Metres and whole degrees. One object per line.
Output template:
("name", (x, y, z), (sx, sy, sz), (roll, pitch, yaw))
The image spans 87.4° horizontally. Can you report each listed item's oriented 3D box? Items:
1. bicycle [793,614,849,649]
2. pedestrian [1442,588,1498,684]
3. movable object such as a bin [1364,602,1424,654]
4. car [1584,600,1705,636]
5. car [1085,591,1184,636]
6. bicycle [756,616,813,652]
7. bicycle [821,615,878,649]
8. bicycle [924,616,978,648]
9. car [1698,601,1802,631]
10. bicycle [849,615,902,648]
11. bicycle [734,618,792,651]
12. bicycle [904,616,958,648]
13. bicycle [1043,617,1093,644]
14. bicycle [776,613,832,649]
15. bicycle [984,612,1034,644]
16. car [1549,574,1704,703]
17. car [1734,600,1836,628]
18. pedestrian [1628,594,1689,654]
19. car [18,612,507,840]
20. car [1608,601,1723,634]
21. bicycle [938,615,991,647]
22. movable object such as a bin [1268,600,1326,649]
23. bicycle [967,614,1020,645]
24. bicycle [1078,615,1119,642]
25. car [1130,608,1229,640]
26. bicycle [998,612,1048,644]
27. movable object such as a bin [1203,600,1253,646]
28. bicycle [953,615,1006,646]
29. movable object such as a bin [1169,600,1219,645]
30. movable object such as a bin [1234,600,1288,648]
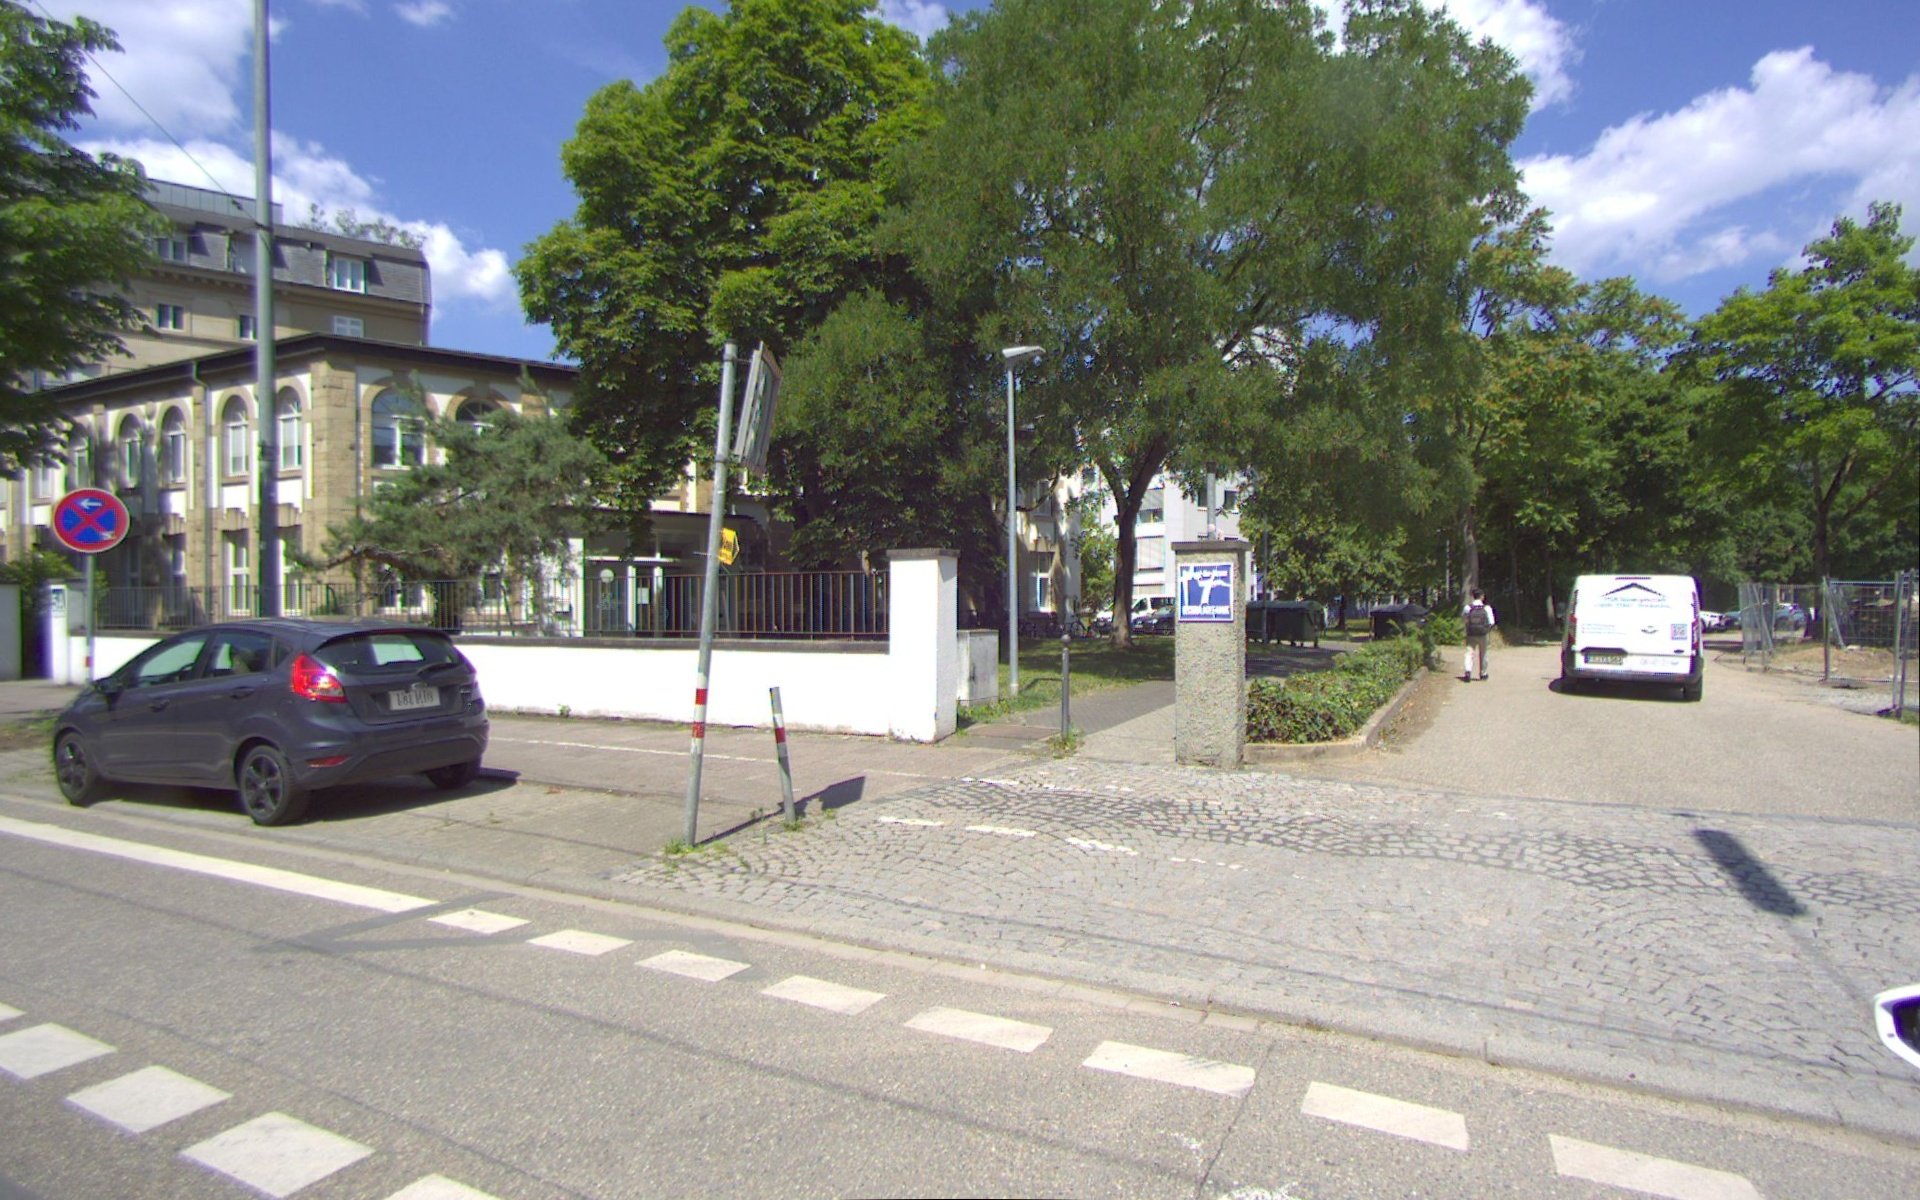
("bicycle", (-4.370, 0.968, 31.517), (0.603, 1.025, 2.231), (0, 0, -42))
("pedestrian", (9.687, 0.658, 19.056), (0.861, 1.752, 1.077), (0, 1, 32))
("movable object such as a bin", (12.291, 0.775, 28.450), (1.096, 1.413, 1.158), (0, 0, -12))
("car", (33.364, 0.850, 49.087), (1.980, 1.630, 4.477), (3, -2, -34))
("car", (8.428, 0.653, 48.413), (4.727, 2.040, 1.980), (0, -1, -36))
("bicycle", (-5.372, 1.023, 30.662), (0.628, 1.025, 2.231), (0, 0, -43))
("bicycle", (-3.529, 1.003, 31.980), (0.603, 1.025, 2.231), (0, 0, -42))
("bicycle", (-0.316, 1.070, 34.257), (0.602, 1.025, 2.235), (0, 0, -38))
("car", (45.480, 0.885, 57.907), (1.708, 1.619, 4.475), (-1, 0, -35))
("bicycle", (-2.754, 1.011, 32.622), (0.602, 1.025, 2.235), (0, 0, -38))
("bicycle", (-5.900, 1.008, 30.027), (0.651, 0.902, 2.231), (0, 0, -42))
("bicycle", (-0.988, 1.054, 33.871), (0.602, 1.025, 2.235), (0, 0, -38))
("bicycle", (4.020, 1.125, 37.581), (0.601, 0.971, 2.239), (0, 0, -33))
("bicycle", (-4.841, 0.942, 31.055), (0.566, 1.025, 2.231), (0, 0, -42))
("bicycle", (1.730, 0.996, 36.046), (0.601, 1.096, 2.239), (0, 0, -33))
("car", (11.602, 0.601, 17.783), (1.944, 1.973, 4.572), (0, 0, 29))
("car", (50.078, 0.844, 61.045), (1.917, 1.619, 4.476), (0, 0, -35))
("pedestrian", (20.056, 0.681, 28.836), (1.032, 1.672, 1.034), (-1, 1, -19))
("car", (-5.737, 0.890, 8.272), (3.655, 1.476, 1.587), (-1, 2, 24))
("car", (35.419, 0.841, 50.528), (1.708, 1.552, 4.475), (0, 0, -35))
("bicycle", (0.136, 1.061, 34.725), (0.602, 1.025, 2.235), (0, 0, -38))
("movable object such as a bin", (10.559, 0.758, 31.500), (1.197, 1.499, 1.311), (0, 0, -38))
("bicycle", (1.166, 1.024, 35.542), (0.602, 1.025, 2.235), (0, 0, -38))
("bicycle", (5.232, 1.052, 38.036), (0.607, 0.971, 1.714), (0, 0, -33))
("car", (9.988, 1.059, 45.660), (4.580, 1.370, 1.815), (0, 0, -35))
("bicycle", (2.271, 0.989, 36.380), (0.601, 1.096, 2.239), (0, 0, -33))
("movable object such as a bin", (9.025, 0.763, 33.817), (1.037, 1.499, 1.250), (0, 0, -35))
("bicycle", (0.670, 1.059, 35.120), (0.602, 1.025, 2.235), (0, 0, -38))
("movable object such as a bin", (8.153, 0.766, 35.011), (1.037, 1.499, 1.396), (0, 0, -34))
("movable object such as a bin", (9.789, 0.760, 32.649), (1.342, 1.499, 1.089), (0, 0, 45))
